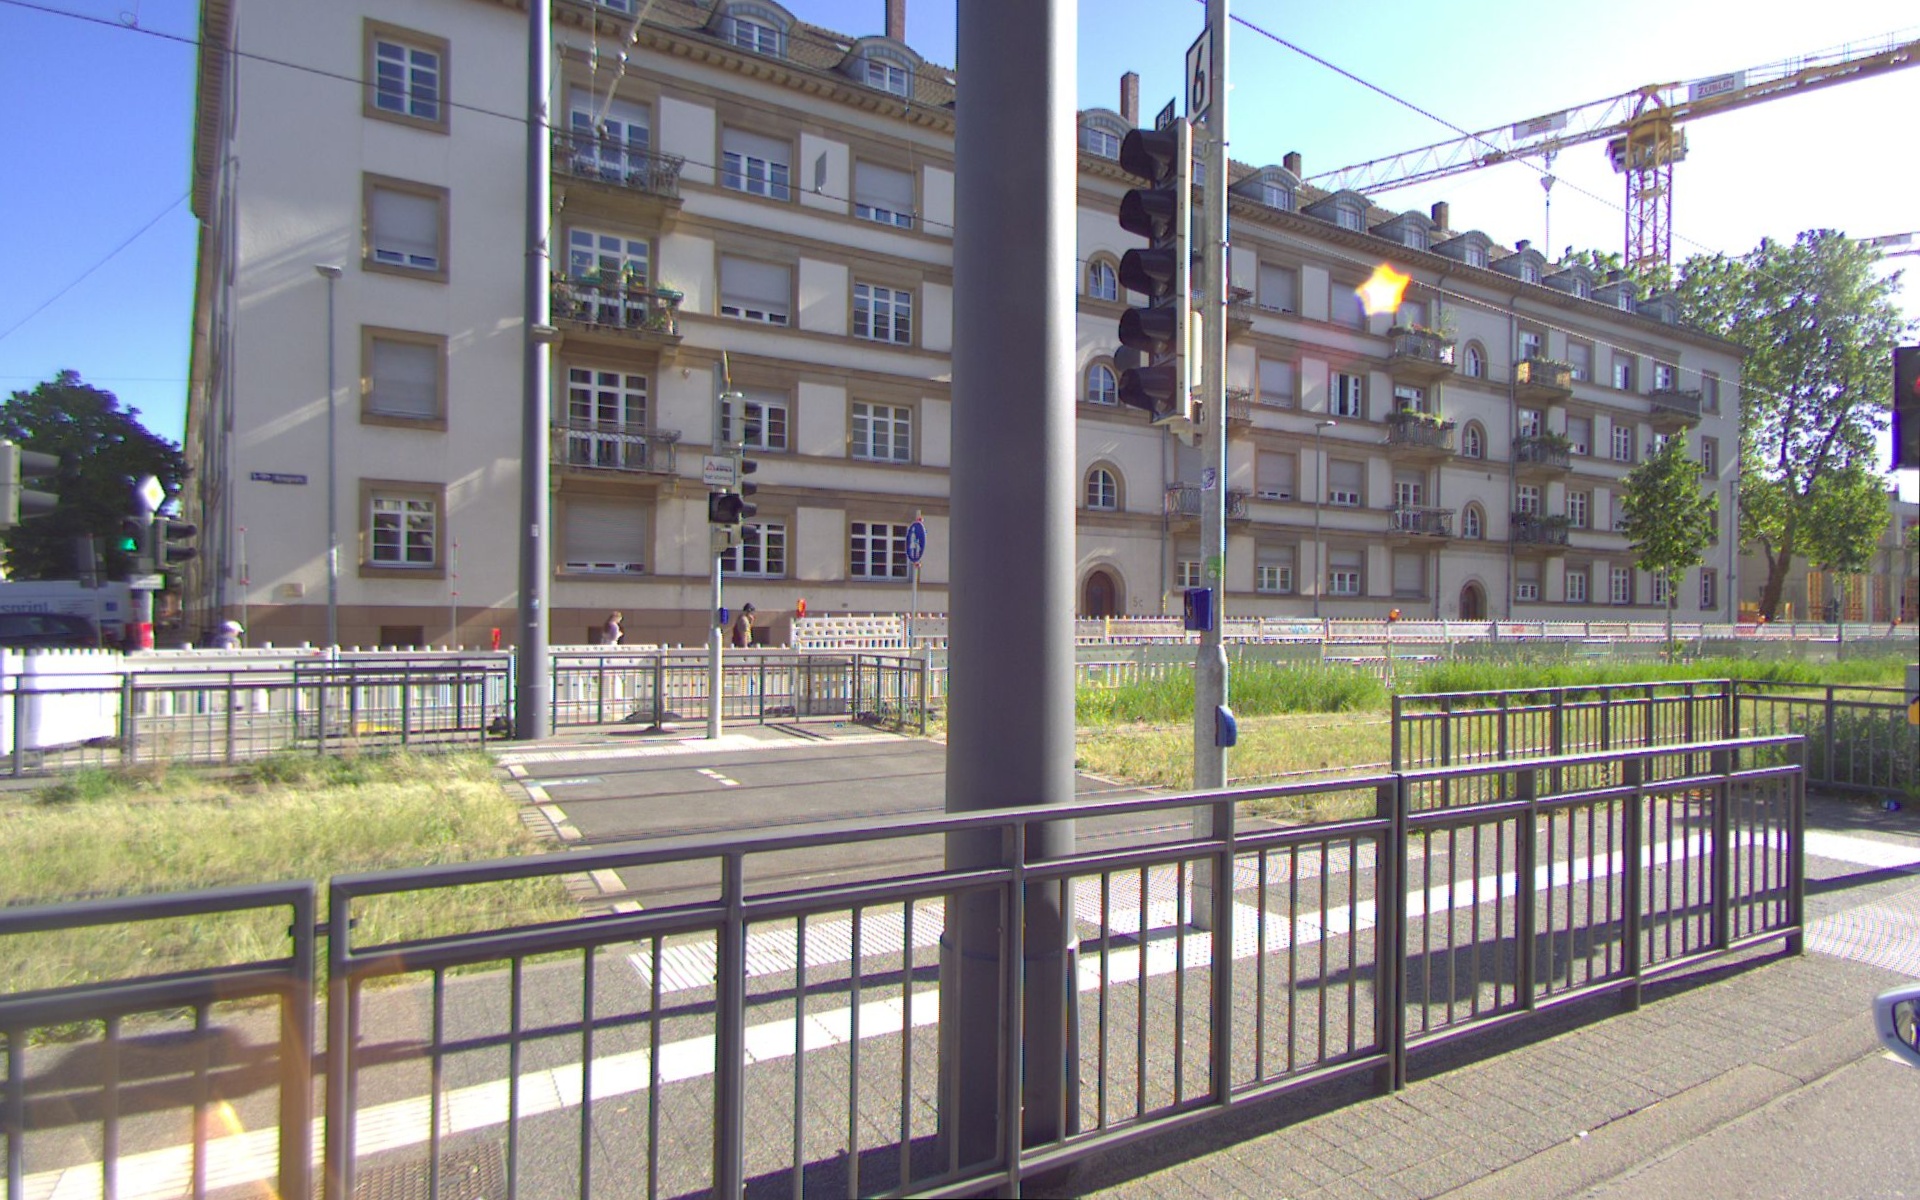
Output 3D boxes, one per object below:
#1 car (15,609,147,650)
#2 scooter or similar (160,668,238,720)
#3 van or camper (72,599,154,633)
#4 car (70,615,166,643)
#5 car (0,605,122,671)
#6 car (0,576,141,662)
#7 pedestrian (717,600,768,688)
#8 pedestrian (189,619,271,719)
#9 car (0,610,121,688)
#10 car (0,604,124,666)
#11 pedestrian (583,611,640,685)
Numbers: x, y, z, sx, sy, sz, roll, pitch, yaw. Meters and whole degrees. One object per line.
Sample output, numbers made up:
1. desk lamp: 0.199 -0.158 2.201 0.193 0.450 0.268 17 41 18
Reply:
1. car: -36.285 1.230 41.598 3.965 1.576 1.848 2 0 -39
2. scooter or similar: -11.424 1.405 15.089 0.697 0.729 0.607 0 -1 -2
3. van or camper: -59.284 1.117 70.442 4.311 2.244 1.930 2 0 -40
4. car: -46.098 1.584 55.109 3.967 1.449 1.758 2 0 -40
5. car: -24.917 0.997 26.696 3.965 1.662 1.849 2 0 -38
6. car: -28.152 0.554 29.963 5.710 2.487 1.977 2 0 -40
7. pedestrian: -4.808 0.952 22.190 0.861 1.888 0.763 2 0 -30
8. pedestrian: -11.470 1.069 15.811 0.697 1.524 0.806 0 -1 -3
9. car: -21.584 1.078 22.559 3.959 1.662 1.851 2 0 -34
10. car: -26.297 0.964 28.404 3.965 1.662 1.849 2 0 -38
11. pedestrian: -7.518 1.029 21.663 1.009 1.538 0.783 2 0 -30
